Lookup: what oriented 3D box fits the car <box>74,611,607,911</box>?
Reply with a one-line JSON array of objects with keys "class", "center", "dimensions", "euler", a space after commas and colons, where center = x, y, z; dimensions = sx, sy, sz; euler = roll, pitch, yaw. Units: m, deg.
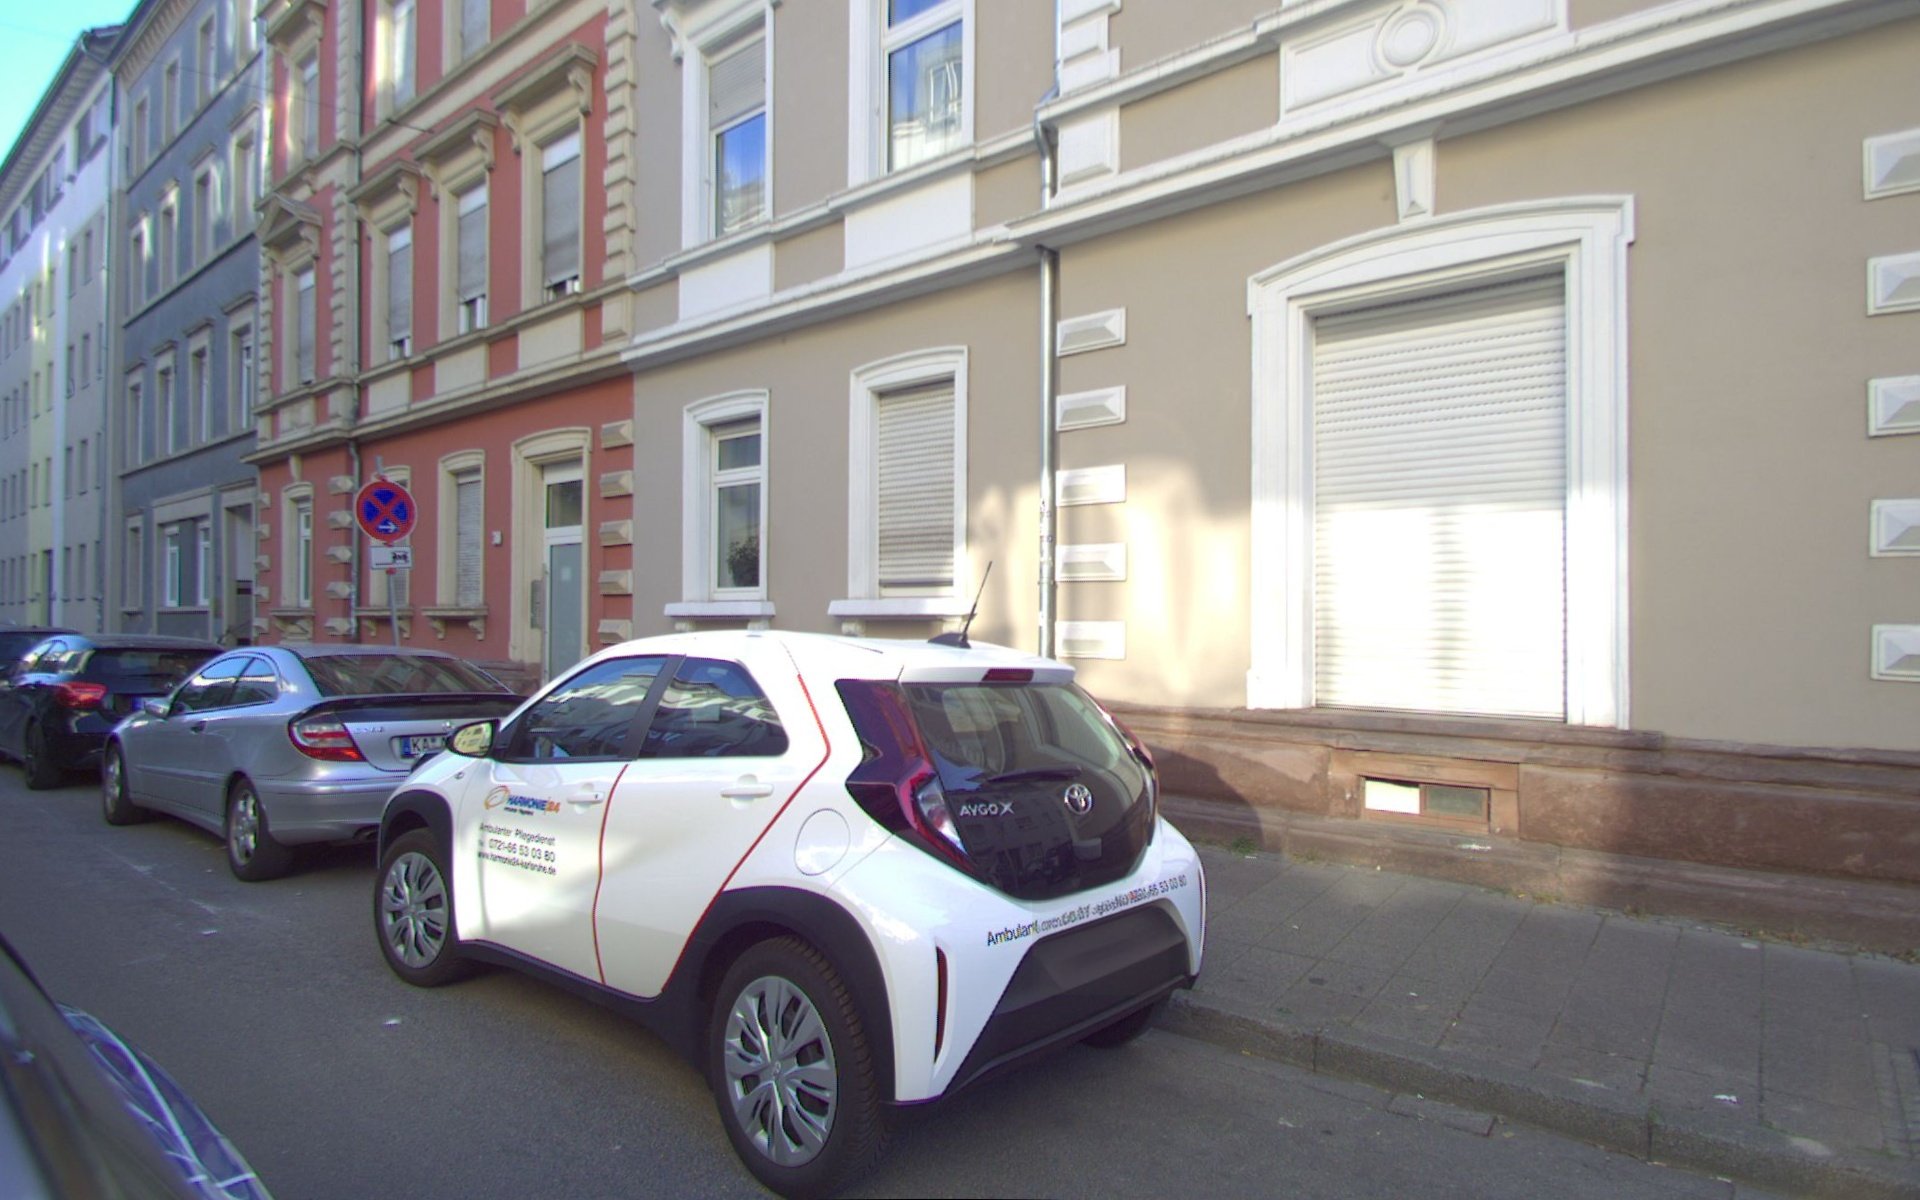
[{"class": "car", "center": [-4.670, 0.939, 7.411], "dimensions": [4.261, 1.572, 1.902], "euler": [-2, -4, 38]}]

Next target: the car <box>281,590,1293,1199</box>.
[{"class": "car", "center": [-1.034, 0.838, 4.281], "dimensions": [4.263, 1.519, 1.901], "euler": [-2, -4, 40]}]

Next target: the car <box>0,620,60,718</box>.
[{"class": "car", "center": [-17.340, 1.149, 17.468], "dimensions": [4.261, 1.572, 1.902], "euler": [-2, -4, 38]}]

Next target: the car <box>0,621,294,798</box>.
[{"class": "car", "center": [-8.955, 1.028, 10.687], "dimensions": [4.261, 1.495, 1.902], "euler": [-2, -4, 38]}]

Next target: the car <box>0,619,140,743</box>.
[{"class": "car", "center": [-13.567, 1.097, 14.477], "dimensions": [4.234, 1.572, 1.883], "euler": [-2, -4, 38]}]

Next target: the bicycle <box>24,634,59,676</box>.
[{"class": "bicycle", "center": [-25.154, 1.487, 27.704], "dimensions": [1.750, 1.082, 0.446], "euler": [-1, -1, 39]}]
